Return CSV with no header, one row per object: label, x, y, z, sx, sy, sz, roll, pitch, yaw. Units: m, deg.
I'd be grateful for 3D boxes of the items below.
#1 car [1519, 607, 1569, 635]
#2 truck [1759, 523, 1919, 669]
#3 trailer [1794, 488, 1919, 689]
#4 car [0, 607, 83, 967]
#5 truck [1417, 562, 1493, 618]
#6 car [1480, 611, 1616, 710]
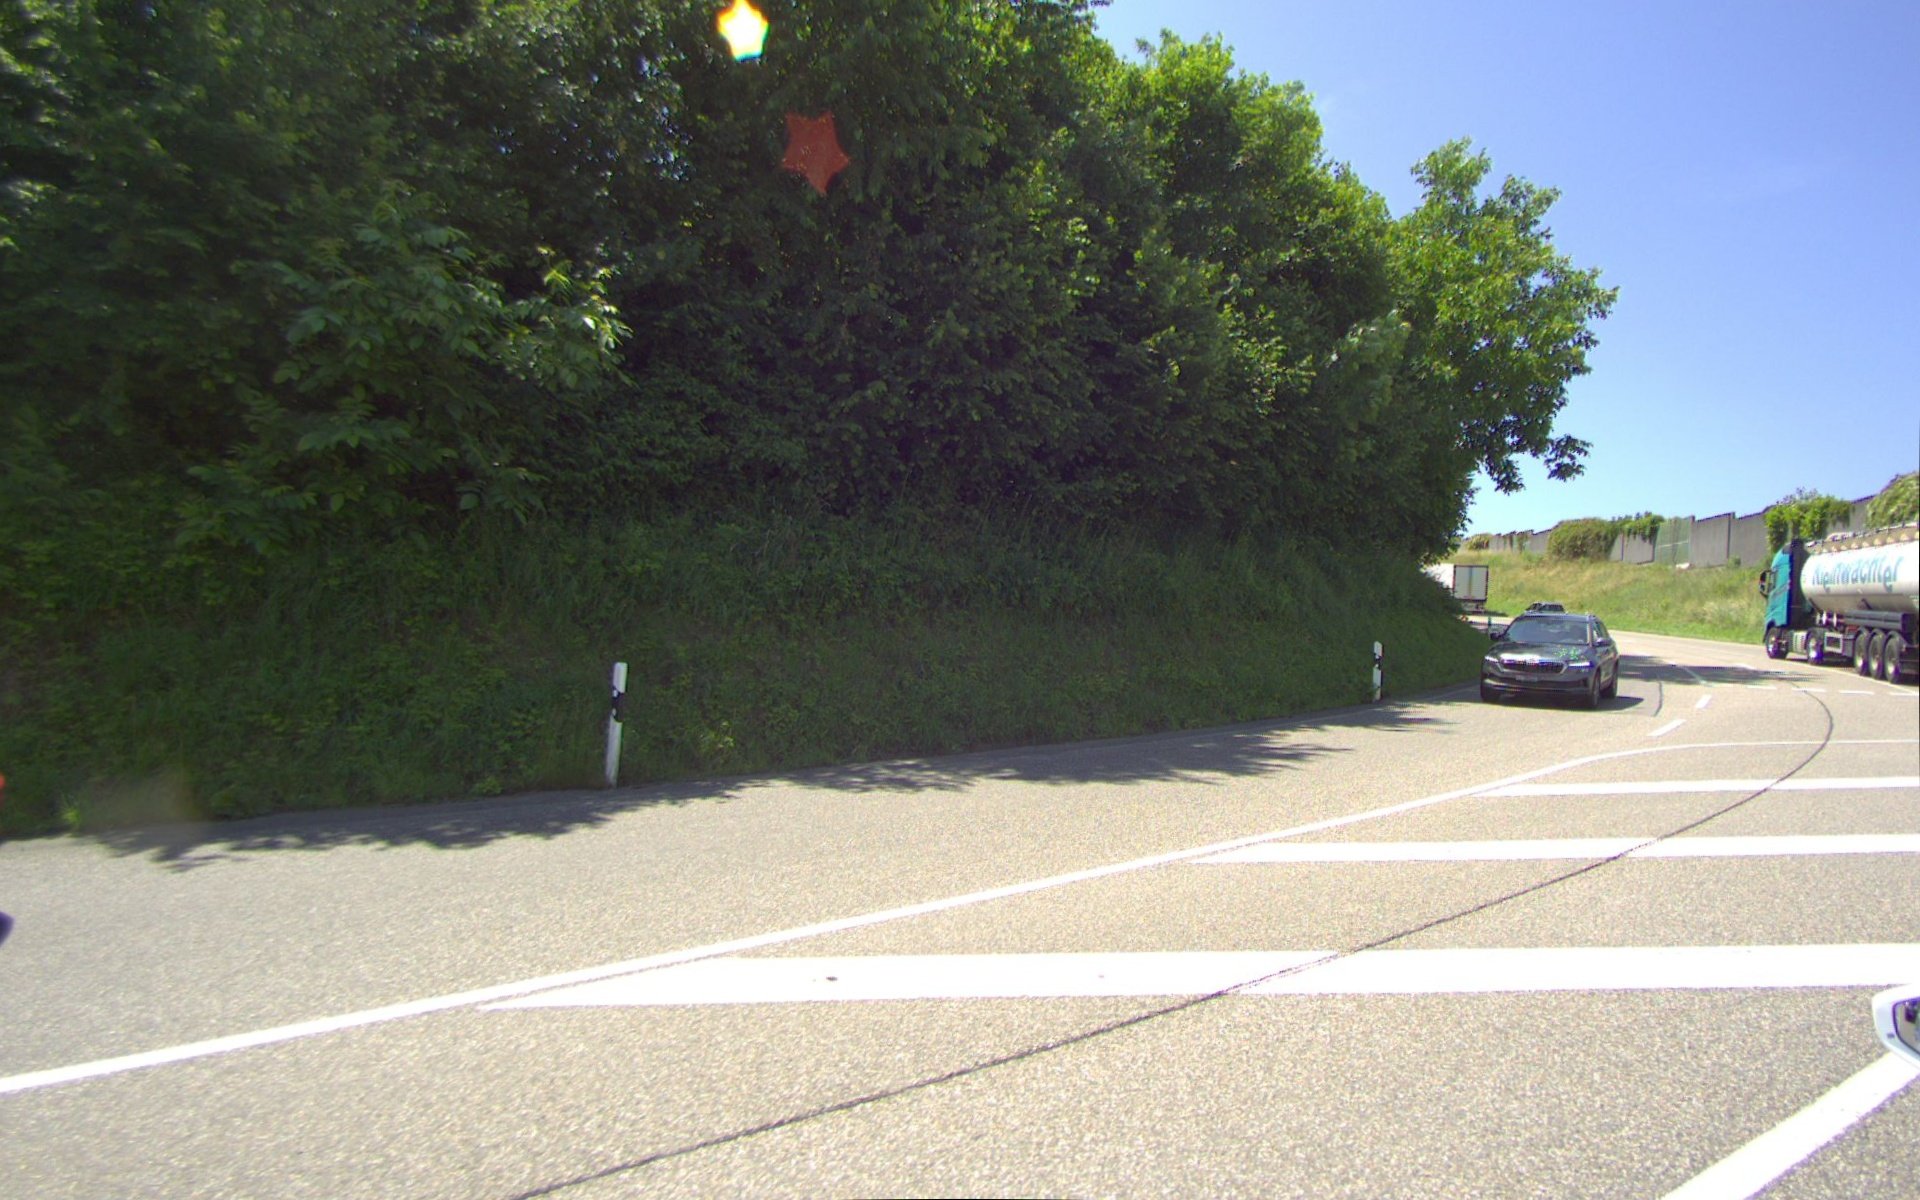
car,37.868,1.326,65.208,1.620,1.529,3.640,4,2,11
truck,27.336,-0.098,30.970,2.685,3.982,7.254,2,0,27
trailer,24.325,-0.206,25.668,2.622,4.244,11.880,0,-1,30
car,-5.922,0.736,3.585,3.957,1.467,1.740,1,-1,-33
truck,42.027,-0.900,85.802,3.136,4.367,11.804,3,2,14
car,11.113,1.048,18.852,1.768,1.626,4.164,1,-1,36
